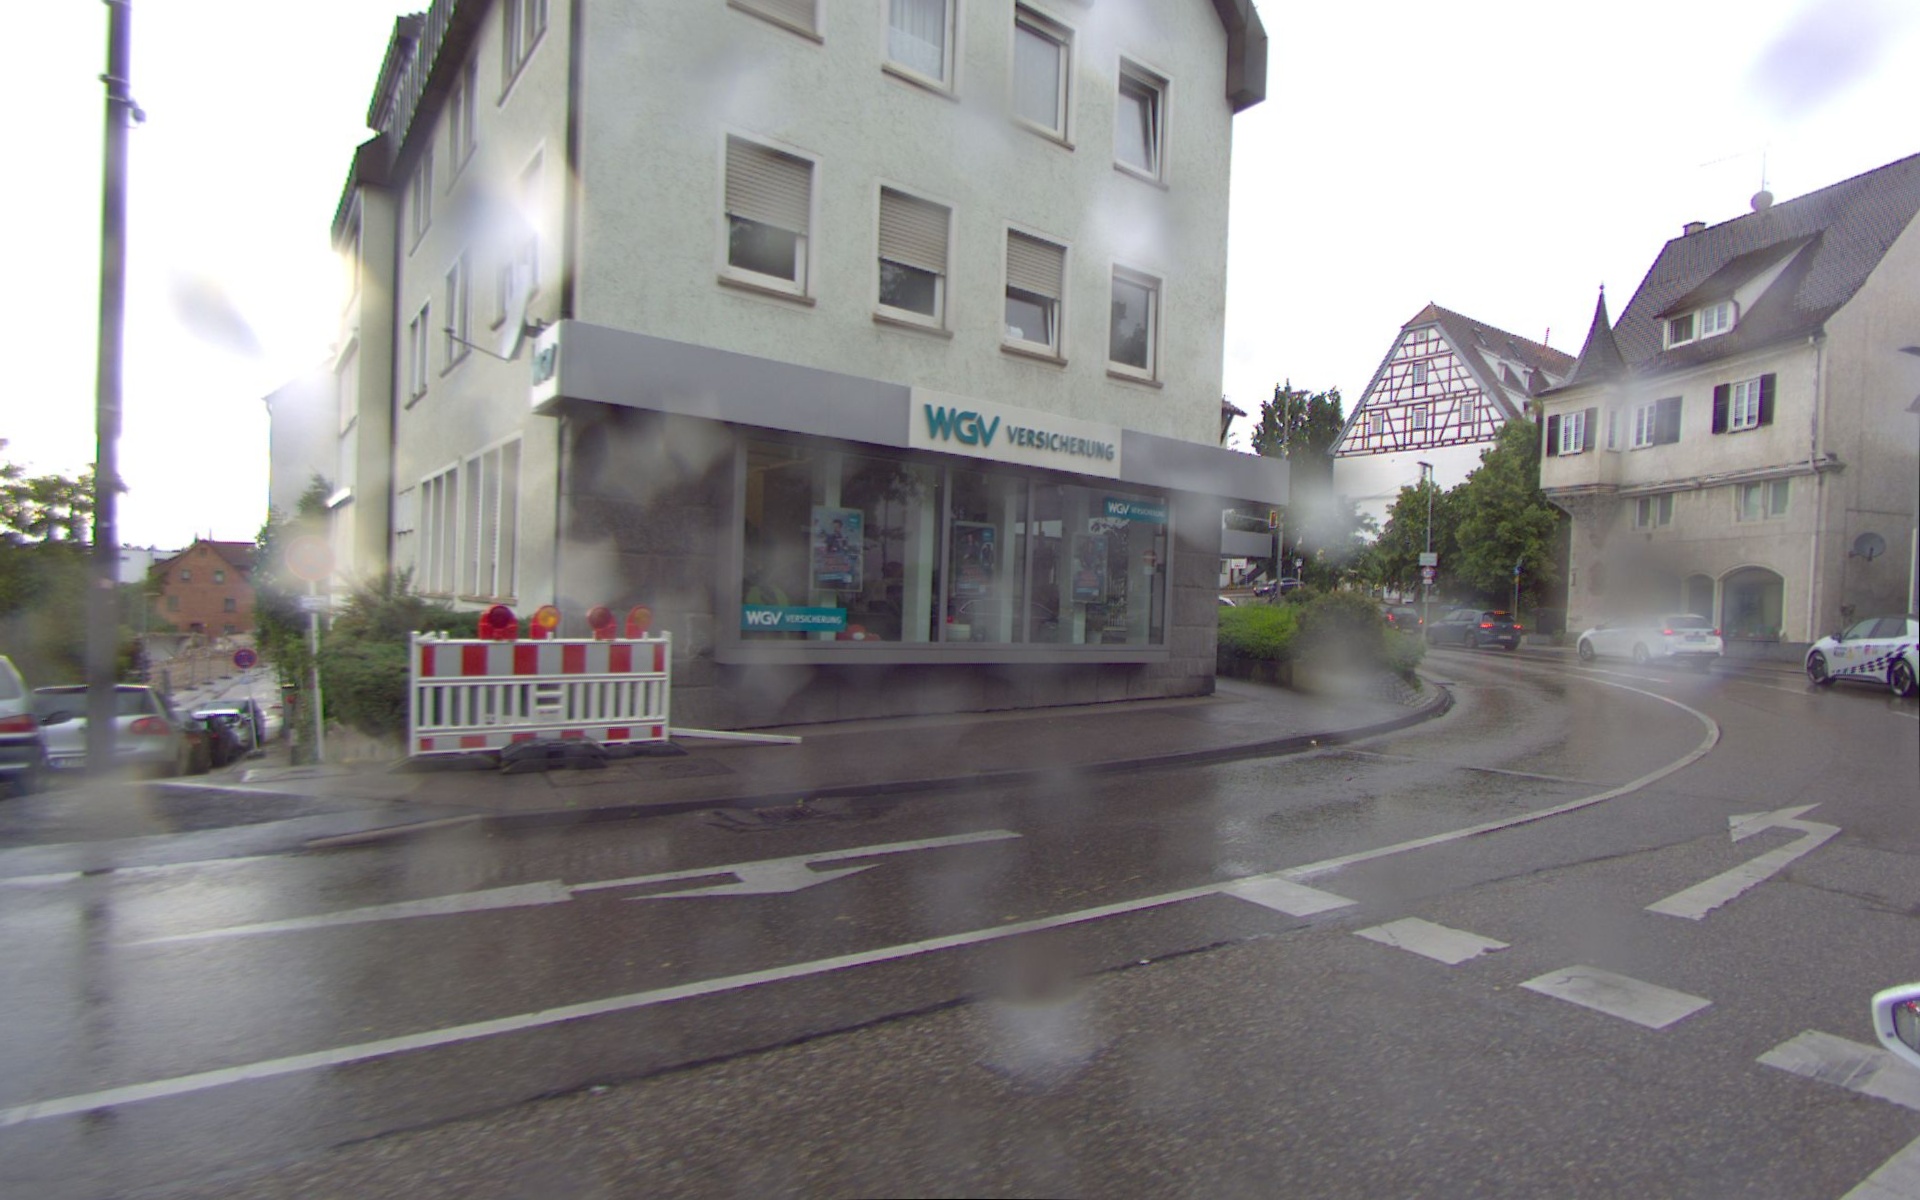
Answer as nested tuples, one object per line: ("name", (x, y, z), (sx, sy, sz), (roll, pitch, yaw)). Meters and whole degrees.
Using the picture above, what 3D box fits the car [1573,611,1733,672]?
("car", (19.505, 1.109, 28.514), (1.755, 1.485, 4.164), (0, 1, 2))

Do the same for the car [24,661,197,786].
("car", (-10.976, 1.618, 13.156), (1.486, 1.328, 3.425), (-1, -6, -37))

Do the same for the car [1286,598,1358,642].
("car", (18.416, 0.974, 51.285), (1.942, 2.118, 3.957), (0, 1, -5))

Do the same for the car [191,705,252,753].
("car", (-23.705, 4.145, 32.243), (1.486, 1.328, 3.425), (-1, -6, -37))

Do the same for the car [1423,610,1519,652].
("car", (19.206, 1.139, 37.929), (1.494, 1.380, 3.765), (0, 1, -4))

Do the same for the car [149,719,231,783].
("car", (-18.884, 3.688, 24.708), (1.486, 1.328, 3.425), (-1, -6, -37))

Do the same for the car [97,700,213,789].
("car", (-14.458, 2.597, 18.174), (1.486, 1.328, 3.425), (-1, -6, -37))

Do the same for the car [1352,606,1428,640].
("car", (18.909, 0.986, 44.311), (1.636, 1.330, 3.621), (0, 1, -4))

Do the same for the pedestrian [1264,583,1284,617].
("pedestrian", (21.925, 0.008, 70.098), (0.851, 2.357, 1.230), (1, 0, -5))

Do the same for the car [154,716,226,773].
("car", (-21.202, 3.973, 27.727), (1.486, 1.328, 3.425), (-1, -6, -37))

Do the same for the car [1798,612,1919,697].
("car", (18.894, 1.014, 20.030), (1.758, 1.537, 4.243), (0, 0, 16))

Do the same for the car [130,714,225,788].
("car", (-16.694, 3.204, 21.531), (1.486, 1.328, 3.425), (-1, -6, -37))

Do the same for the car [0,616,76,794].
("car", (-9.098, 1.038, 8.973), (1.637, 1.407, 3.474), (-1, -6, -39))

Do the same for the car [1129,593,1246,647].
("car", (7.567, 0.667, 33.473), (3.489, 1.708, 1.702), (1, 1, -25))

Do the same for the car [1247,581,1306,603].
("car", (25.361, -0.650, 80.362), (4.468, 1.409, 1.640), (2, 7, -25))
